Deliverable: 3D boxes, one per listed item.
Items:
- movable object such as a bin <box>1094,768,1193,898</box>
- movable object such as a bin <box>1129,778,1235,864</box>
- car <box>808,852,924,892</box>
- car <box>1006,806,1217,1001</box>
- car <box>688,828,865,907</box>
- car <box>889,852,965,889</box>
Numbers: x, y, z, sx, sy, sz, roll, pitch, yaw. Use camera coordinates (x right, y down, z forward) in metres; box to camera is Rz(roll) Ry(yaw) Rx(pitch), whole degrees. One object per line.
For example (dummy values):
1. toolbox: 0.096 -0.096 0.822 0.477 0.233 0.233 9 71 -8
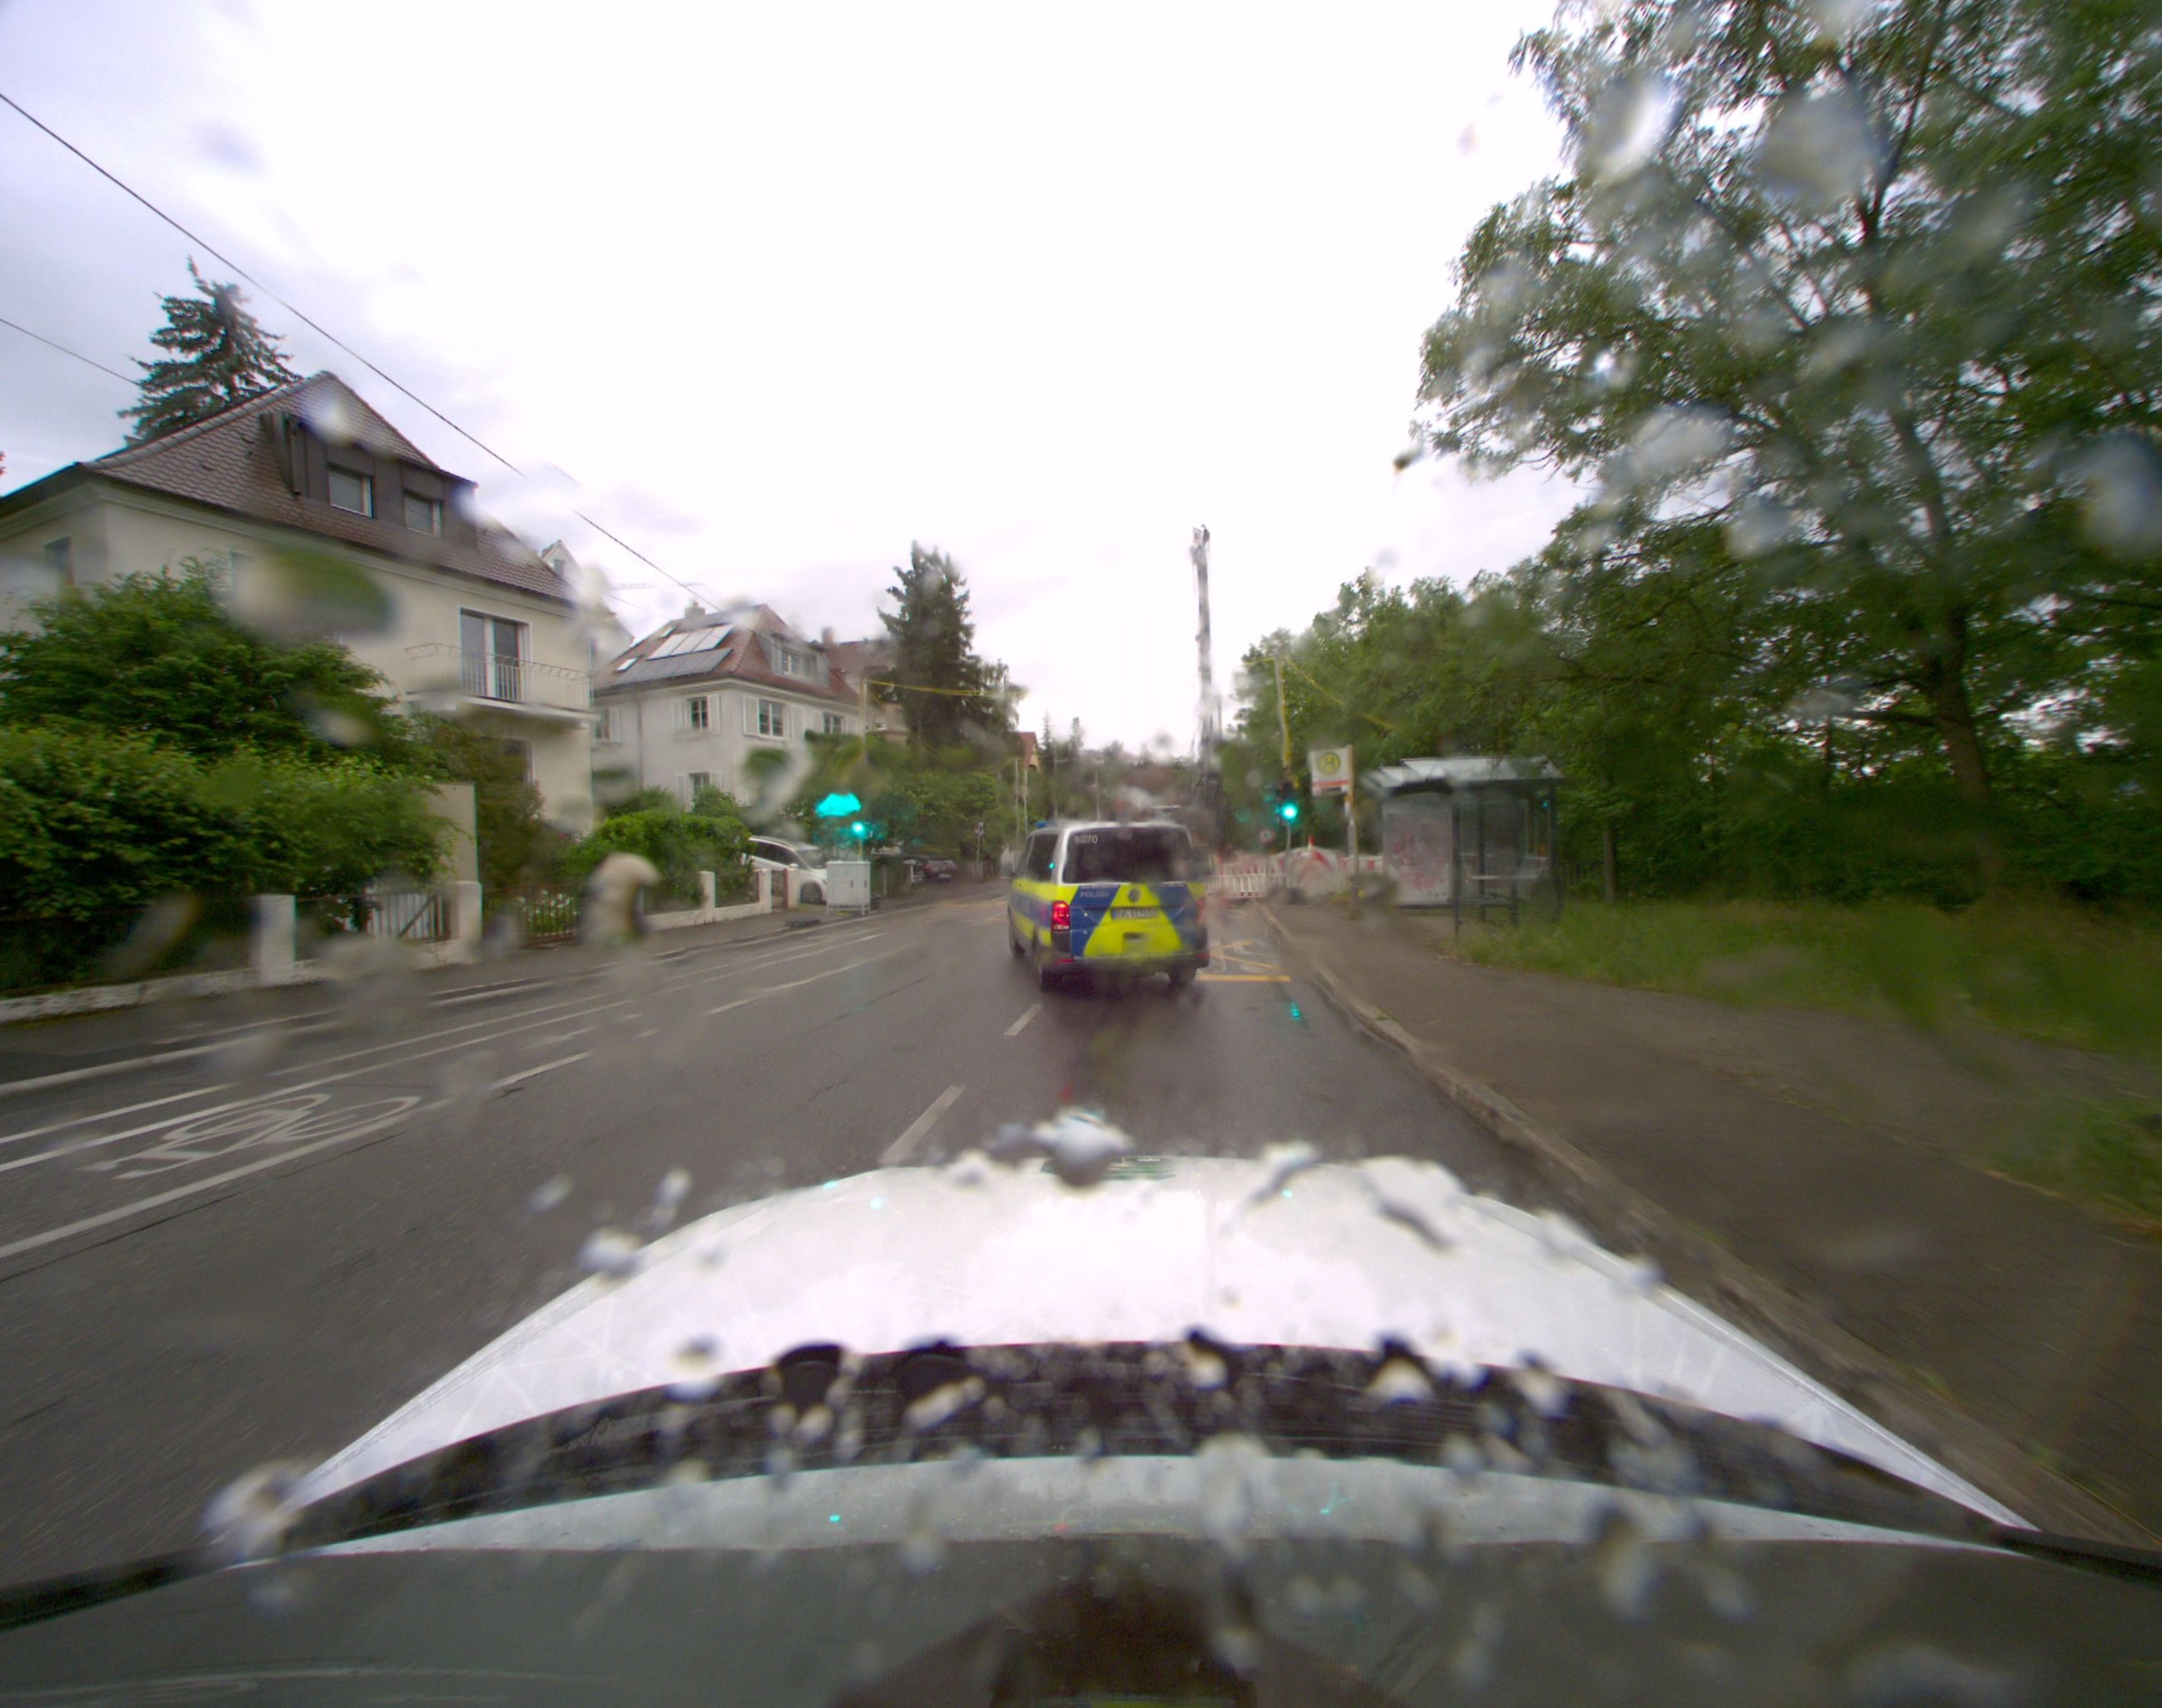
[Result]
1. movable object such as a bin: 2.354 -0.698 29.059 2.860 4.170 4.501 -2 0 11
2. movable object such as a bin: 6.694 -2.012 52.886 3.646 5.066 7.209 -3 -1 35
3. car: -8.471 0.700 32.143 3.956 1.525 1.949 -1 -1 17
4. car: 0.146 0.527 10.766 1.908 2.010 4.424 0 -1 -10
5. car: -9.531 0.356 25.525 4.926 1.616 1.873 10 4 17
6. car: -6.754 0.691 35.393 1.794 1.525 3.957 0 0 -35
